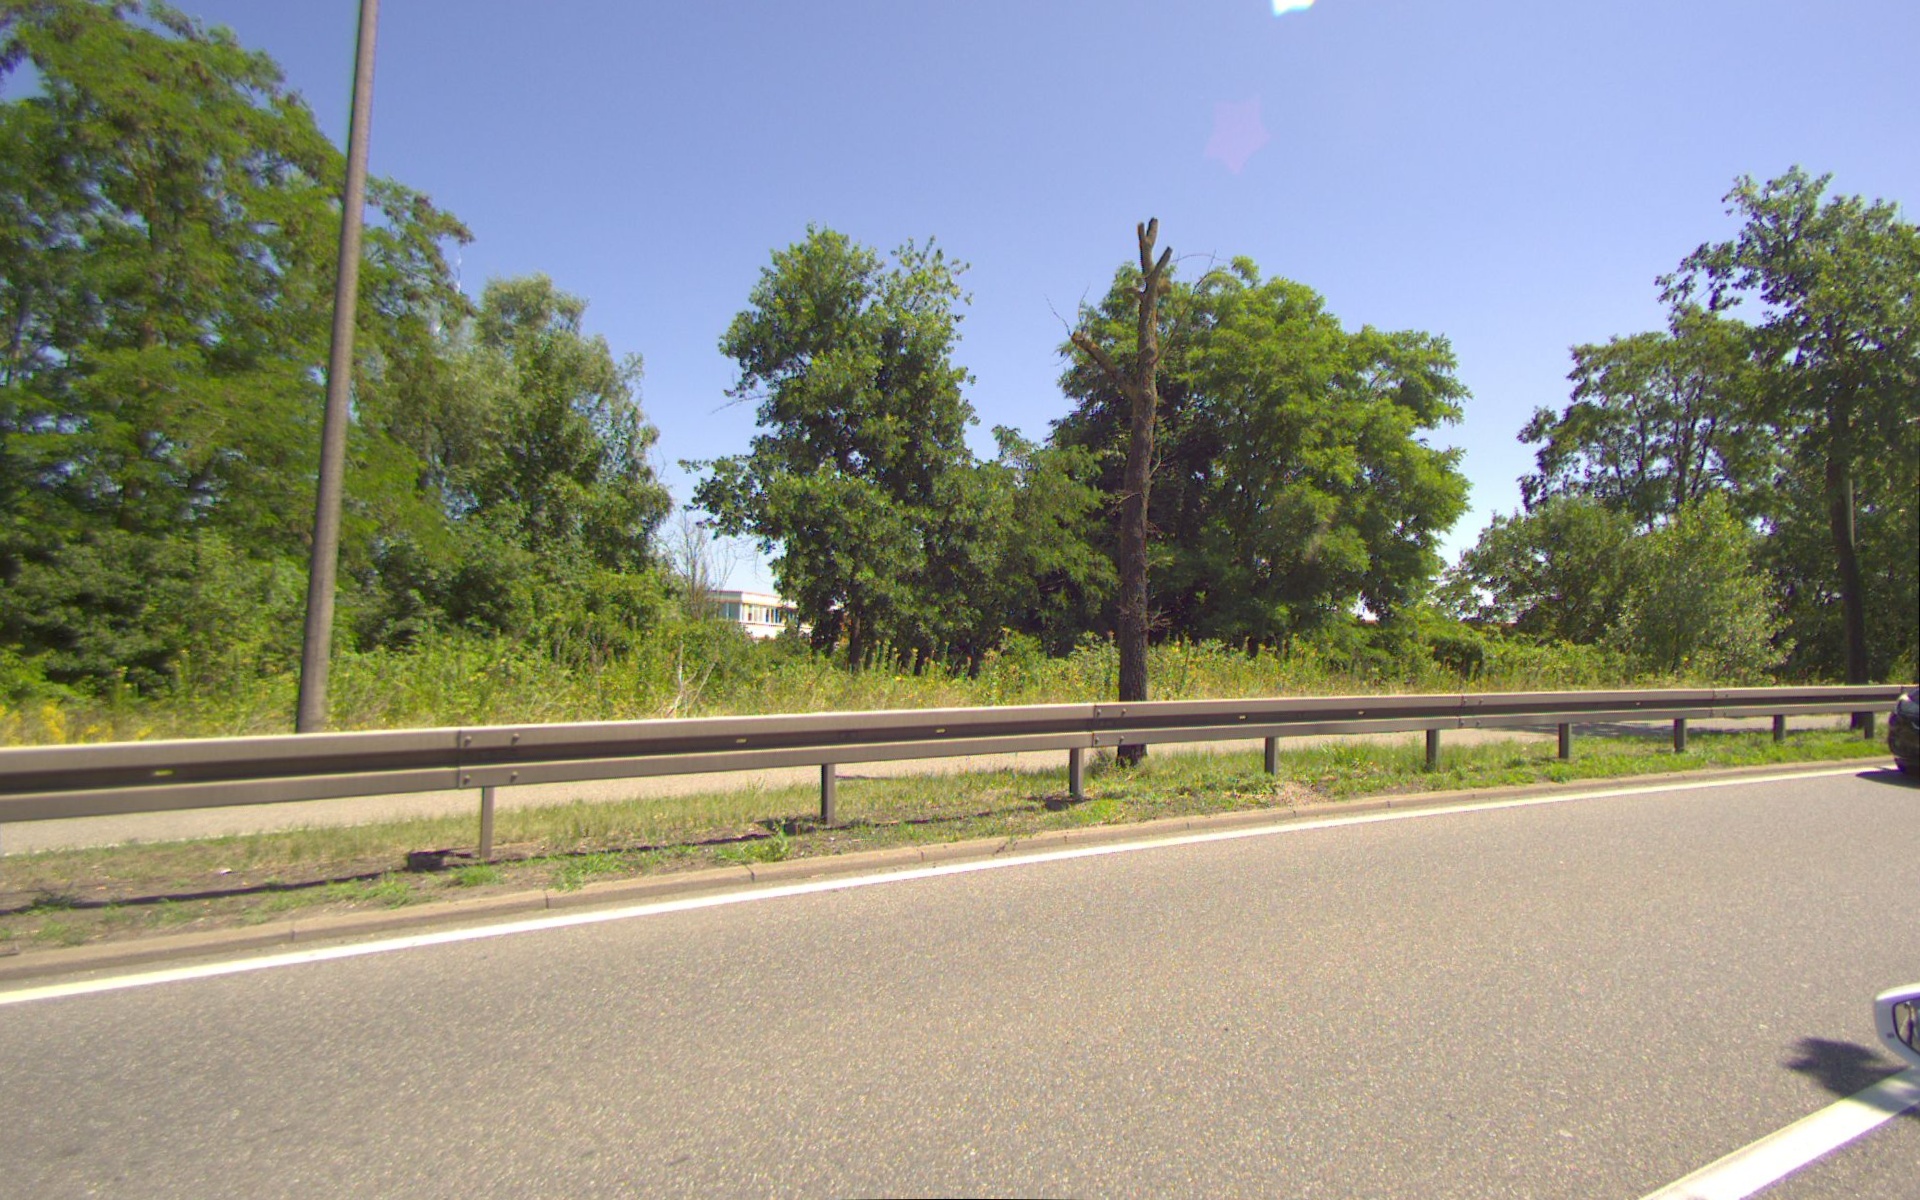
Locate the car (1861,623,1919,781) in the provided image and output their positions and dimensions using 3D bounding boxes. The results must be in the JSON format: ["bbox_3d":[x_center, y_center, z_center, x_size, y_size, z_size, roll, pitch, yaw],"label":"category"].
[{"bbox_3d":[10.946,1.018,9.918,3.767,1.485,1.666,2,0,-24],"label":"car"}]
